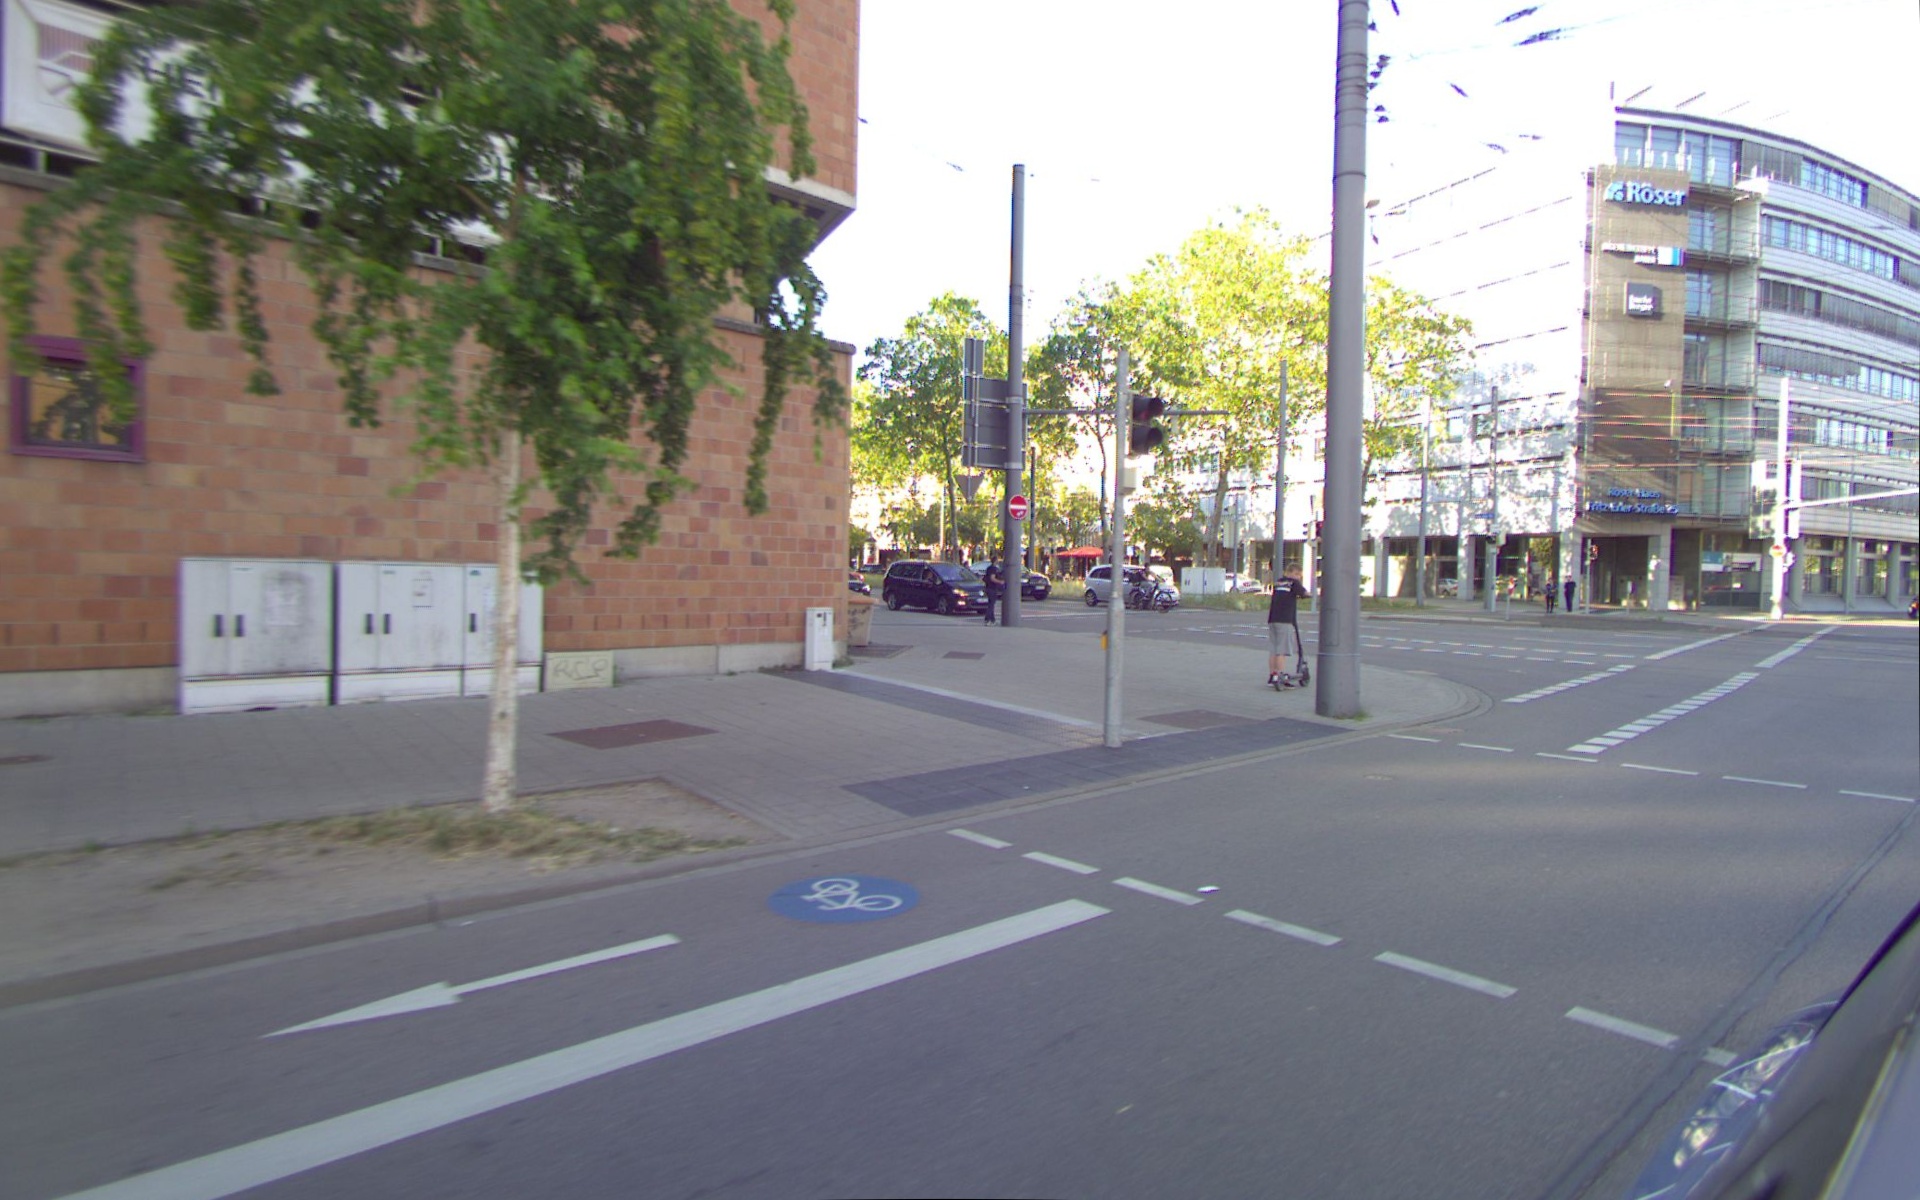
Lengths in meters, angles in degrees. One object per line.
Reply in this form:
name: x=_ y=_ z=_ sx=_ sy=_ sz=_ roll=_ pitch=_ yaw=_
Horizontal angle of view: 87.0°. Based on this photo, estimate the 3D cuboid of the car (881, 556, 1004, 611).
car: x=-0.650 y=-0.598 z=33.293 sx=1.805 sy=1.674 sz=4.500 roll=-1 pitch=3 yaw=-36

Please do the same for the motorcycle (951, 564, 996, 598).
motorcycle: x=0.504 y=-0.765 z=39.814 sx=0.835 sy=1.274 sz=2.034 roll=1 pitch=1 yaw=-30

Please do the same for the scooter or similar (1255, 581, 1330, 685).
scooter or similar: x=4.530 y=0.419 z=13.760 sx=0.527 sy=1.334 sz=1.115 roll=2 pitch=2 yaw=42

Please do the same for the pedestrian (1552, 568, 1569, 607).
pedestrian: x=28.815 y=-0.589 z=48.564 sx=0.586 sy=1.846 sz=0.537 roll=2 pitch=2 yaw=38

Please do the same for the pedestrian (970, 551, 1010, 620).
pedestrian: x=0.772 y=-0.391 z=26.177 sx=0.652 sy=1.737 sz=0.824 roll=0 pitch=2 yaw=-36

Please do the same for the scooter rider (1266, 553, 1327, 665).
scooter rider: x=4.603 y=0.111 z=13.826 sx=0.506 sy=1.479 sz=0.711 roll=2 pitch=2 yaw=43

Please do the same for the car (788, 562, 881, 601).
car: x=-4.886 y=-0.731 z=38.913 sx=1.885 sy=1.393 sz=4.001 roll=0 pitch=2 yaw=-35

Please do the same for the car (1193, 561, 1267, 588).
car: x=16.957 y=-1.635 z=63.623 sx=1.824 sy=1.571 sz=4.326 roll=0 pitch=2 yaw=-35

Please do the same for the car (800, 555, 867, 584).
car: x=-7.065 y=-1.722 z=56.339 sx=1.825 sy=1.571 sz=4.325 roll=0 pitch=2 yaw=-36

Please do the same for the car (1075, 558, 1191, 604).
car: x=6.448 y=-0.758 z=38.137 sx=1.703 sy=1.616 sz=4.325 roll=0 pitch=2 yaw=-36

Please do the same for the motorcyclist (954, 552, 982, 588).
motorcyclist: x=0.315 y=-1.199 z=40.164 sx=0.805 sy=1.370 sz=0.750 roll=1 pitch=1 yaw=-30

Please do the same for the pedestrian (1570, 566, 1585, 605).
pedestrian: x=29.353 y=-0.677 z=48.121 sx=0.544 sy=1.846 sz=0.369 roll=2 pitch=2 yaw=38

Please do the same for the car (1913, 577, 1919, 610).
car: x=51.190 y=-0.265 z=51.902 sx=4.084 sy=1.641 sz=1.908 roll=1 pitch=1 yaw=-24

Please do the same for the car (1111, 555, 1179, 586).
car: x=12.545 y=-2.026 z=68.870 sx=1.963 sy=2.038 sz=4.383 roll=0 pitch=2 yaw=-38

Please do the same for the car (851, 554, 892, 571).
car: x=-8.729 y=-3.655 z=99.246 sx=2.226 sy=1.571 sz=4.329 roll=0 pitch=2 yaw=-33

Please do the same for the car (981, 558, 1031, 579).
car: x=3.661 y=-2.535 z=81.298 sx=1.824 sy=1.571 sz=4.326 roll=0 pitch=2 yaw=-35

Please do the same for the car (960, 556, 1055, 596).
car: x=1.999 y=-1.074 z=44.049 sx=1.825 sy=1.671 sz=4.325 roll=0 pitch=2 yaw=-36
